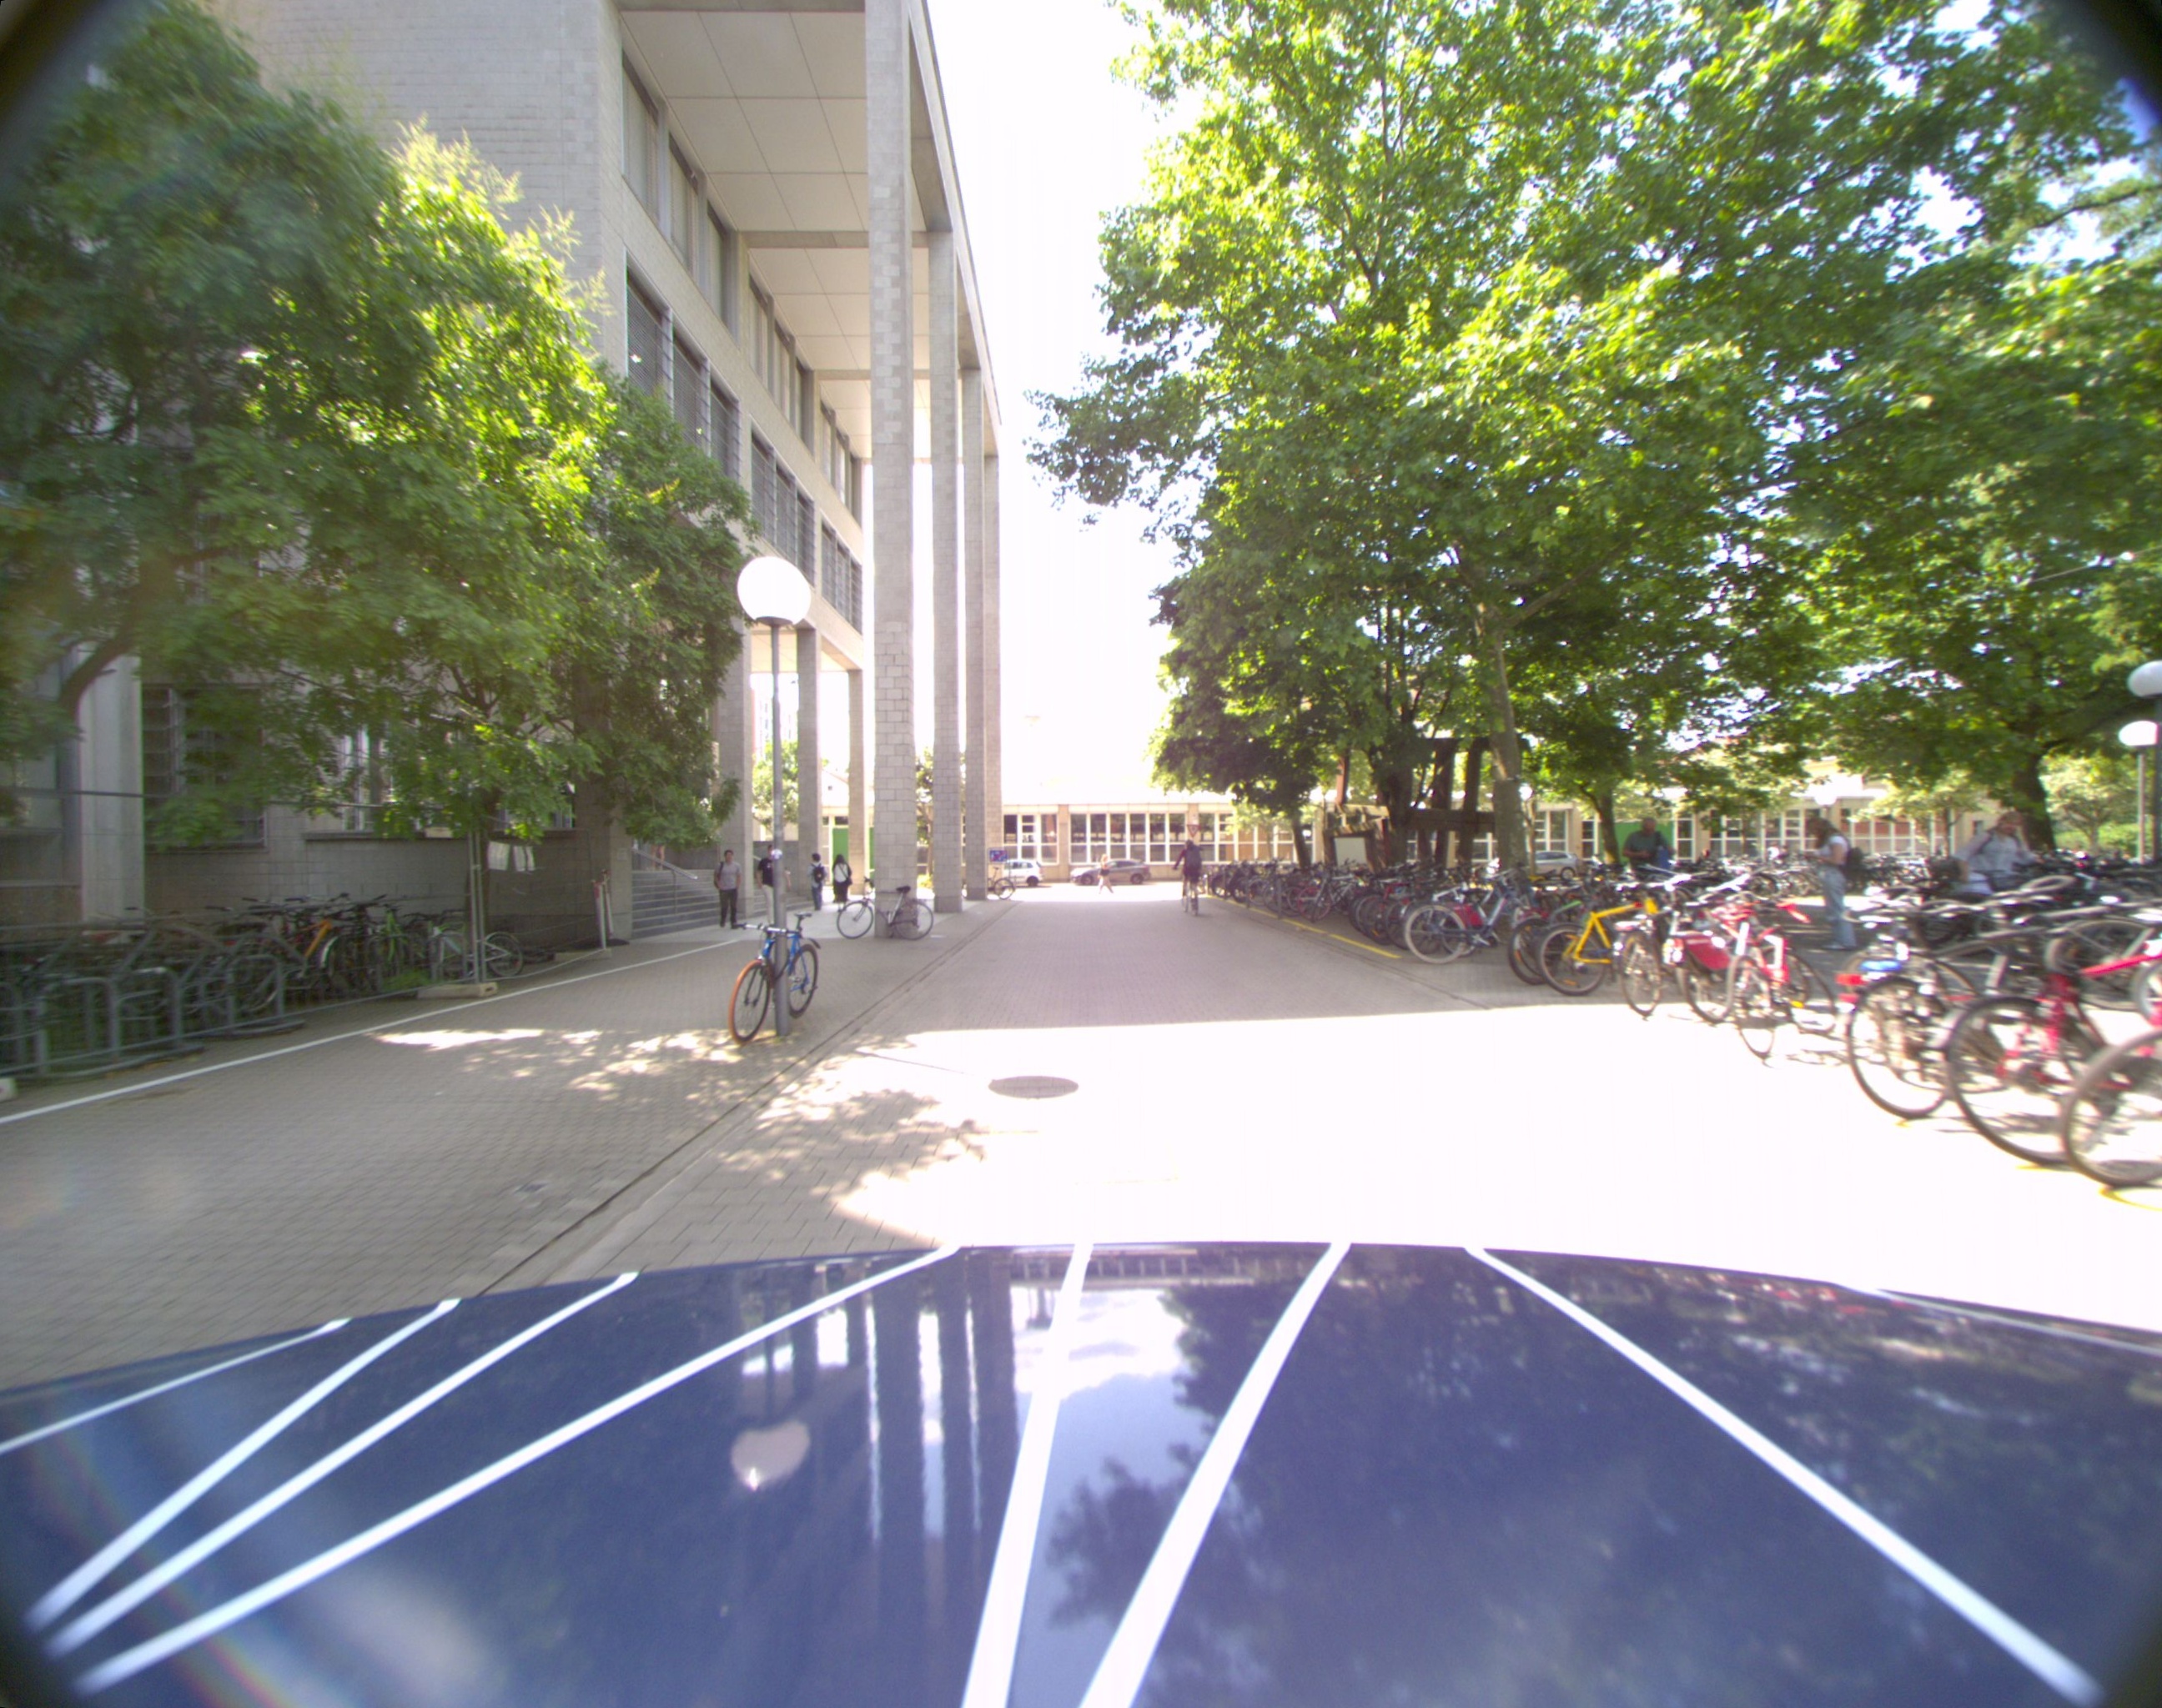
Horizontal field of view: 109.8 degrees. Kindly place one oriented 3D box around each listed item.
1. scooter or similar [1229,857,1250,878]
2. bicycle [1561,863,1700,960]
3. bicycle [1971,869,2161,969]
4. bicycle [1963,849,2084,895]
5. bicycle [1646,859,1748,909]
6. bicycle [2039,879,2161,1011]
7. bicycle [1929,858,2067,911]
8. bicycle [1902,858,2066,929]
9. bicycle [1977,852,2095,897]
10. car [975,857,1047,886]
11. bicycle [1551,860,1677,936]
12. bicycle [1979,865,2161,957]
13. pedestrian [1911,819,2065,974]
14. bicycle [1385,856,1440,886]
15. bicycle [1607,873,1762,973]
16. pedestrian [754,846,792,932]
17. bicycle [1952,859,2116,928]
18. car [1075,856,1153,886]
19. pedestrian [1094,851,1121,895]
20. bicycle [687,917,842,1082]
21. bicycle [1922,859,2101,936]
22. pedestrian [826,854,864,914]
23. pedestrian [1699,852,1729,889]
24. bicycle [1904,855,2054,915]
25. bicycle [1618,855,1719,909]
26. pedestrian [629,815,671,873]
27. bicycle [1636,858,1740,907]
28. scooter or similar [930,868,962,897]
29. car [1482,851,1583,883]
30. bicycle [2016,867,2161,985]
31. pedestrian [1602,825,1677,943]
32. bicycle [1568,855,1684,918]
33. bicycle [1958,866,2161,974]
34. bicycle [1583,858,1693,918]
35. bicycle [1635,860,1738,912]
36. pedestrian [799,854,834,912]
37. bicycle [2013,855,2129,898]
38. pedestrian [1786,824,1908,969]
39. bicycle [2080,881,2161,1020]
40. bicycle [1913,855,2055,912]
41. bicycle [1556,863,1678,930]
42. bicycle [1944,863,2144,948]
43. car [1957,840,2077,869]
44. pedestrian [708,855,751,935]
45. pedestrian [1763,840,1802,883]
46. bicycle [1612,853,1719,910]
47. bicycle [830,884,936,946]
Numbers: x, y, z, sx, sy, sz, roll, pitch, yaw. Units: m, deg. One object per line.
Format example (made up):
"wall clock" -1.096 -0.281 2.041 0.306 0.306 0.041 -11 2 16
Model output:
"scooter or similar" 9.393 0.808 45.115 1.157 1.219 0.289 -1 0 3
"bicycle" 7.528 0.763 10.416 1.700 1.213 0.502 -2 1 -11
"bicycle" 11.633 0.725 8.792 1.695 1.077 0.475 -1 1 45
"bicycle" 23.228 0.441 18.757 0.475 1.077 1.854 -3 1 -38
"bicycle" 14.393 0.679 17.791 0.504 1.101 1.775 -3 1 -38
"bicycle" 9.398 0.762 6.325 1.695 1.077 0.475 -1 1 36
"bicycle" 19.606 0.631 16.288 0.475 1.077 1.854 -3 1 -38
"bicycle" 14.656 0.612 12.381 0.475 1.077 1.695 -3 1 -38
"bicycle" 24.362 0.517 19.423 0.475 1.077 1.854 -3 1 -38
"car" -3.849 0.943 42.095 3.776 1.468 1.653 -1 2 0
"bicycle" 8.964 0.719 12.836 1.695 1.193 0.577 -1 1 36
"bicycle" 12.622 0.684 9.546 1.695 1.077 0.475 -1 1 45
"pedestrian" 10.627 0.466 8.930 0.770 1.693 0.906 -2 1 -14
"bicycle" 13.378 0.670 30.723 1.883 1.165 0.806 -1 1 11
"bicycle" 7.425 0.823 9.359 1.700 1.102 0.502 -2 1 -11
"pedestrian" -6.682 0.739 16.499 0.703 1.792 0.881 -1 0 -20
"bicycle" 15.999 0.629 12.807 0.475 1.077 1.695 -3 1 -38
"car" 1.790 0.933 42.248 4.208 1.468 1.653 -2 2 0
"pedestrian" 1.016 0.725 29.276 0.882 1.645 0.702 -1 0 -7
"bicycle" -2.594 1.137 6.458 0.538 1.033 1.858 -1 1 0
"bicycle" 14.083 0.625 11.553 0.475 1.077 1.695 -3 1 -38
"pedestrian" -6.534 0.819 21.027 0.809 1.608 0.739 -1 1 -33
"pedestrian" 26.630 0.692 31.978 0.841 1.511 0.570 -2 1 -17
"bicycle" 17.401 0.578 14.774 0.475 1.077 1.854 -3 1 -38
"bicycle" 12.724 0.603 16.485 1.695 1.101 0.504 -1 1 40
"pedestrian" -13.023 -0.306 22.971 0.865 1.714 0.644 -1 0 -1
"bicycle" 14.653 0.667 18.392 0.504 1.101 1.902 -3 1 -38
"scooter or similar" -5.404 1.127 30.512 1.157 1.144 0.444 -1 0 5
"car" 25.091 0.691 42.304 4.536 1.608 1.837 -1 2 -2
"bicycle" 10.222 0.670 7.173 1.695 1.077 0.475 -1 1 36
"pedestrian" 8.870 0.450 12.071 0.771 1.796 0.708 -2 1 -33
"bicycle" 10.012 0.585 14.005 1.695 1.102 0.504 -1 1 36
"bicycle" 10.754 0.684 8.154 1.695 1.077 0.475 -1 1 36
"bicycle" 10.928 0.658 14.933 1.695 1.101 0.504 -1 1 40
"bicycle" 13.804 0.712 17.369 0.504 1.101 1.775 -3 1 -38
"pedestrian" -7.763 0.832 22.297 0.676 1.660 0.897 -1 0 -37
"bicycle" 26.238 0.579 20.186 0.475 1.077 1.854 -3 1 -38
"pedestrian" 9.470 0.496 9.436 0.904 1.693 0.771 -1 1 33
"bicycle" 9.193 0.763 5.884 1.695 1.077 0.475 -1 1 36
"bicycle" 18.416 0.586 15.541 0.475 1.077 1.854 -3 1 -38
"bicycle" 9.360 0.721 13.316 1.695 1.102 0.504 -1 1 36
"bicycle" 13.336 0.680 10.588 0.475 1.077 1.695 -3 1 -38
"car" 51.986 0.018 42.265 4.536 1.532 1.838 -1 0 -2
"pedestrian" -7.546 0.858 16.322 0.703 1.645 0.881 -1 0 -18
"pedestrian" 27.782 0.284 30.098 0.874 1.674 0.728 -1 0 -3
"bicycle" 11.943 0.554 15.549 1.695 1.101 0.632 -1 1 40
"bicycle" -3.469 1.065 13.390 1.743 1.033 0.449 -1 0 -5
